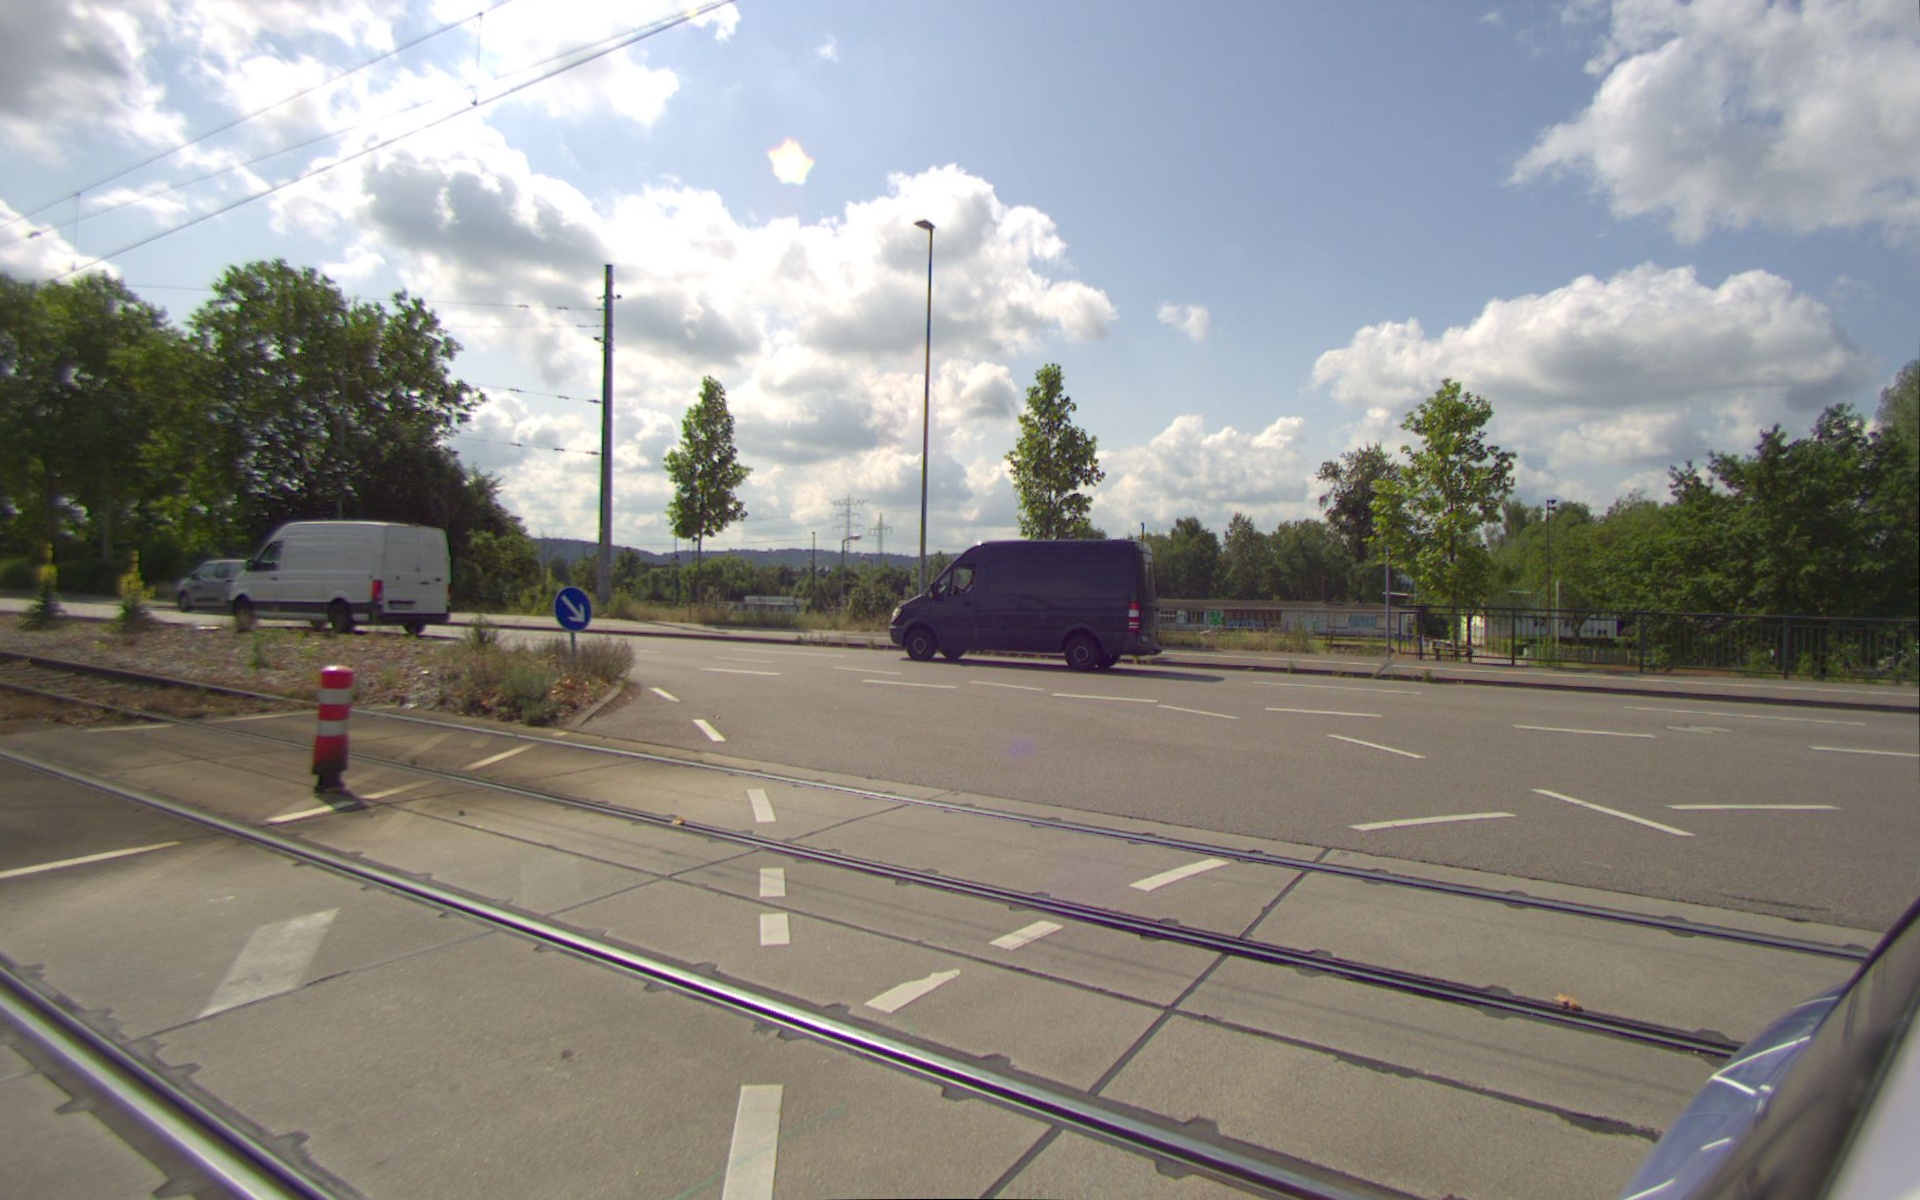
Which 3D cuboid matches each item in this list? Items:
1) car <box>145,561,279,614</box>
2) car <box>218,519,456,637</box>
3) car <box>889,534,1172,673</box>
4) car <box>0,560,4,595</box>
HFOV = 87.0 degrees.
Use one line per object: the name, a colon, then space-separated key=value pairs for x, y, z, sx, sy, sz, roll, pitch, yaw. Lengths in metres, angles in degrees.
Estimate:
car: x=-24.936 y=-0.389 z=33.735 sx=3.957 sy=1.638 sz=1.983 roll=-1 pitch=0 yaw=25
car: x=-14.786 y=-0.563 z=23.963 sx=5.528 sy=2.523 sz=1.944 roll=2 pitch=0 yaw=24
car: x=1.469 y=0.008 z=21.527 sx=5.615 sy=2.638 sz=1.976 roll=2 pitch=0 yaw=24
car: x=-46.101 y=-1.055 z=46.778 sx=3.969 sy=1.611 sz=1.862 roll=2 pitch=1 yaw=32
